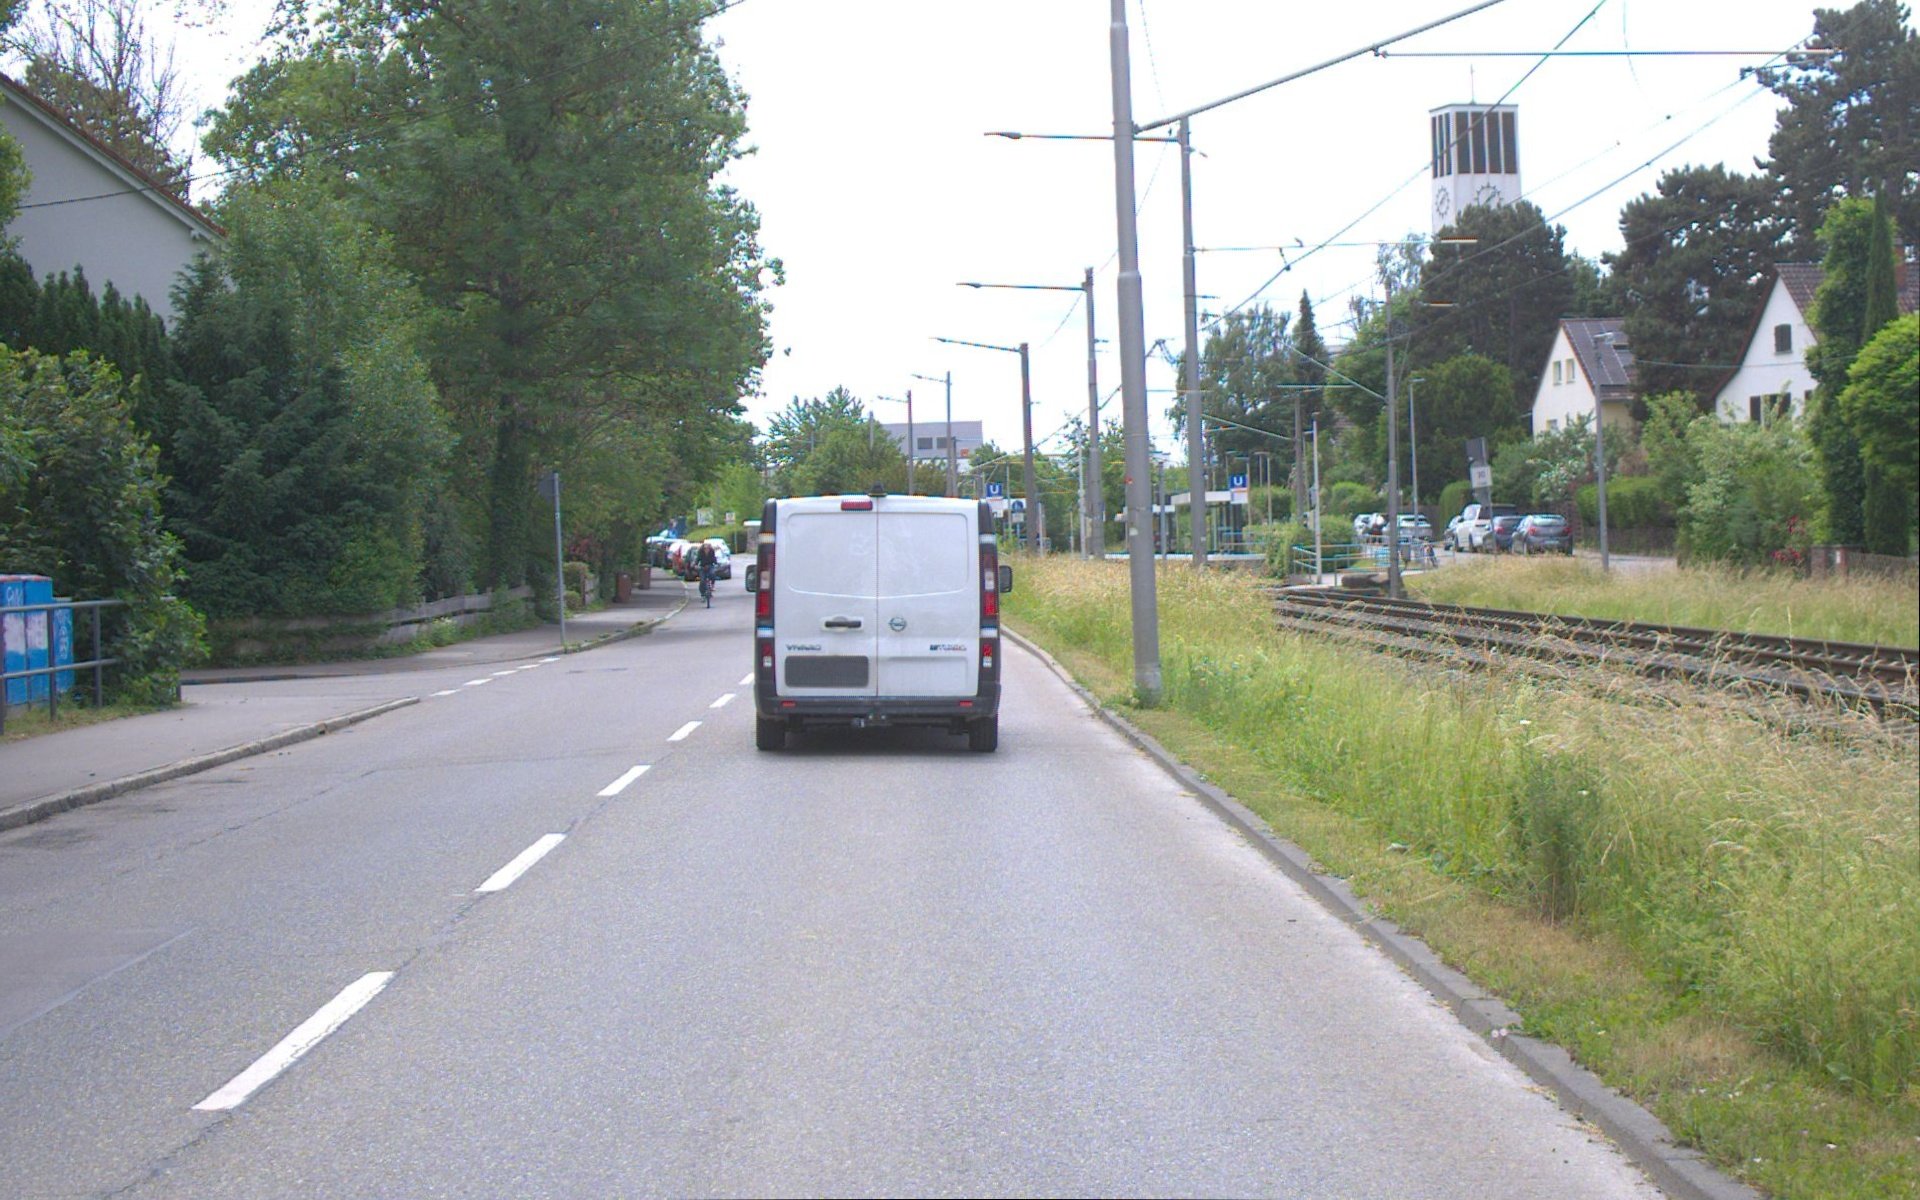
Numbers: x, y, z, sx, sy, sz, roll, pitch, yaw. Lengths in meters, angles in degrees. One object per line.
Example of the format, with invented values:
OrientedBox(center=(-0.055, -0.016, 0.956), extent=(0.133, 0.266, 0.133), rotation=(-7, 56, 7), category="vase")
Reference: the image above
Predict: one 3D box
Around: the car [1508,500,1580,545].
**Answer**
OrientedBox(center=(20.983, -2.784, 123.672), extent=(1.883, 1.517, 4.000), rotation=(-2, 1, 0), category="car")

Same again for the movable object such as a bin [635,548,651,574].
OrientedBox(center=(-11.659, -1.430, 126.419), extent=(0.462, 0.927, 0.430), rotation=(2, 0, -18), category="movable object such as a bin")

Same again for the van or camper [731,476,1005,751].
OrientedBox(center=(-0.696, 0.072, 27.404), extent=(1.993, 2.007, 4.446), rotation=(0, 1, -1), category="van or camper")

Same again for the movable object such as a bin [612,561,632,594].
OrientedBox(center=(-9.720, -0.659, 98.879), extent=(0.513, 0.942, 0.568), rotation=(0, 1, -2), category="movable object such as a bin")

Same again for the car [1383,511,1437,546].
OrientedBox(center=(20.445, -3.242, 156.209), extent=(1.883, 1.517, 4.000), rotation=(-2, 1, 0), category="car")

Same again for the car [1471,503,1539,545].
OrientedBox(center=(20.567, -2.875, 129.782), extent=(1.883, 1.517, 4.000), rotation=(-2, 1, 0), category="car")

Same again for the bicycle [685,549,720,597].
OrientedBox(center=(-7.036, -0.744, 93.921), extent=(0.755, 1.222, 2.308), rotation=(-3, 1, -1), category="bicycle")

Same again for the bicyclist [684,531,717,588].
OrientedBox(center=(-7.083, -1.111, 93.838), extent=(0.778, 1.544, 0.870), rotation=(-2, 1, -1), category="bicyclist")

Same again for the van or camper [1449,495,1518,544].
OrientedBox(center=(20.472, -3.130, 134.576), extent=(1.905, 1.819, 5.048), rotation=(-2, 1, 0), category="van or camper")
